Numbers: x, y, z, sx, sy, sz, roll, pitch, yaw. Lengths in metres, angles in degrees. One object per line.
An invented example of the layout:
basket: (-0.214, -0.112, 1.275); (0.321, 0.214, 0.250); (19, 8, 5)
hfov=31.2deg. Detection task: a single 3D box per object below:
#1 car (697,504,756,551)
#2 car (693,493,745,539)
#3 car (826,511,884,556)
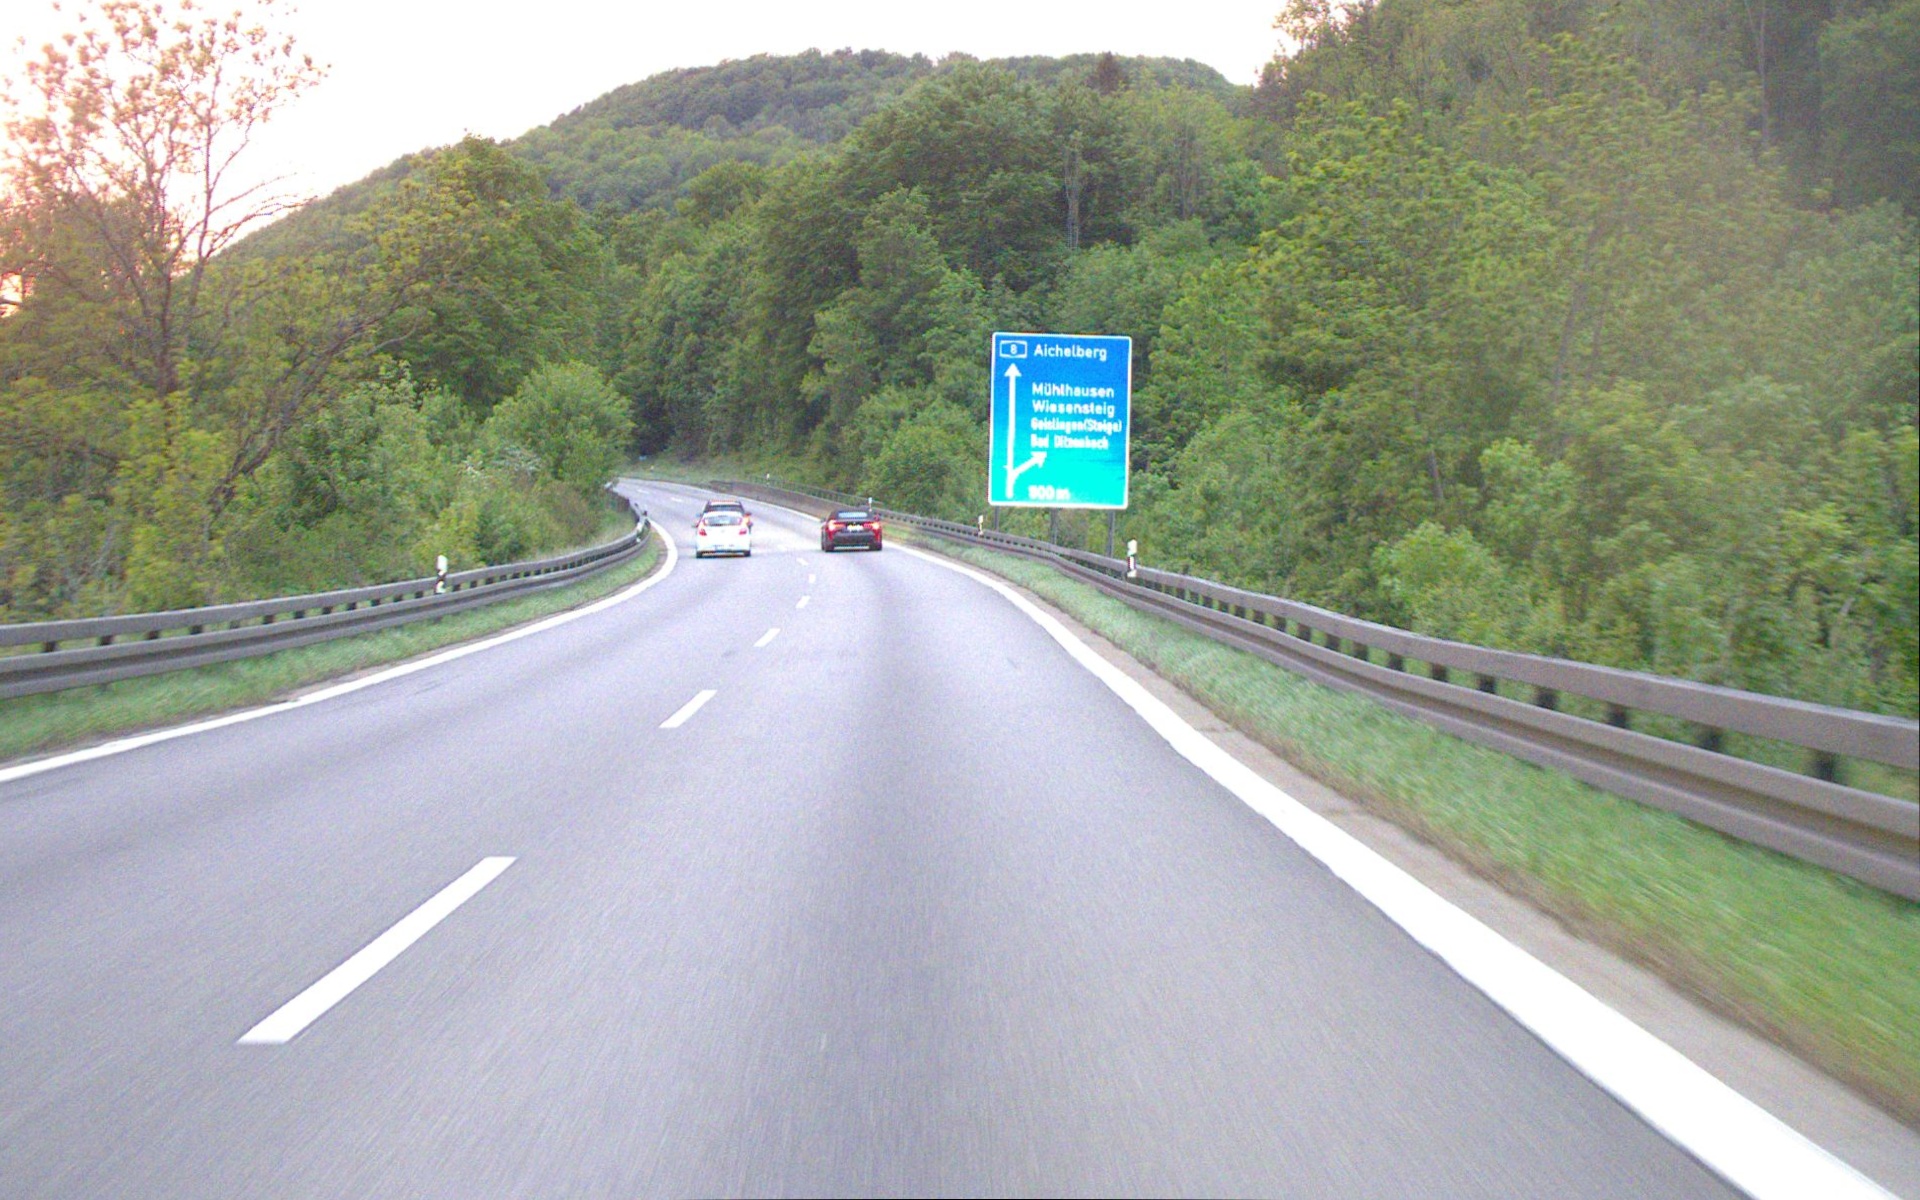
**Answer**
car: (-7.532, -2.339, 111.199); (1.718, 1.496, 4.000); (0, 1, -1)
car: (-8.684, -3.034, 124.138); (1.718, 1.629, 4.001); (0, 1, -2)
car: (-3.476, -2.223, 114.776); (1.878, 1.461, 4.000); (0, 1, -1)
